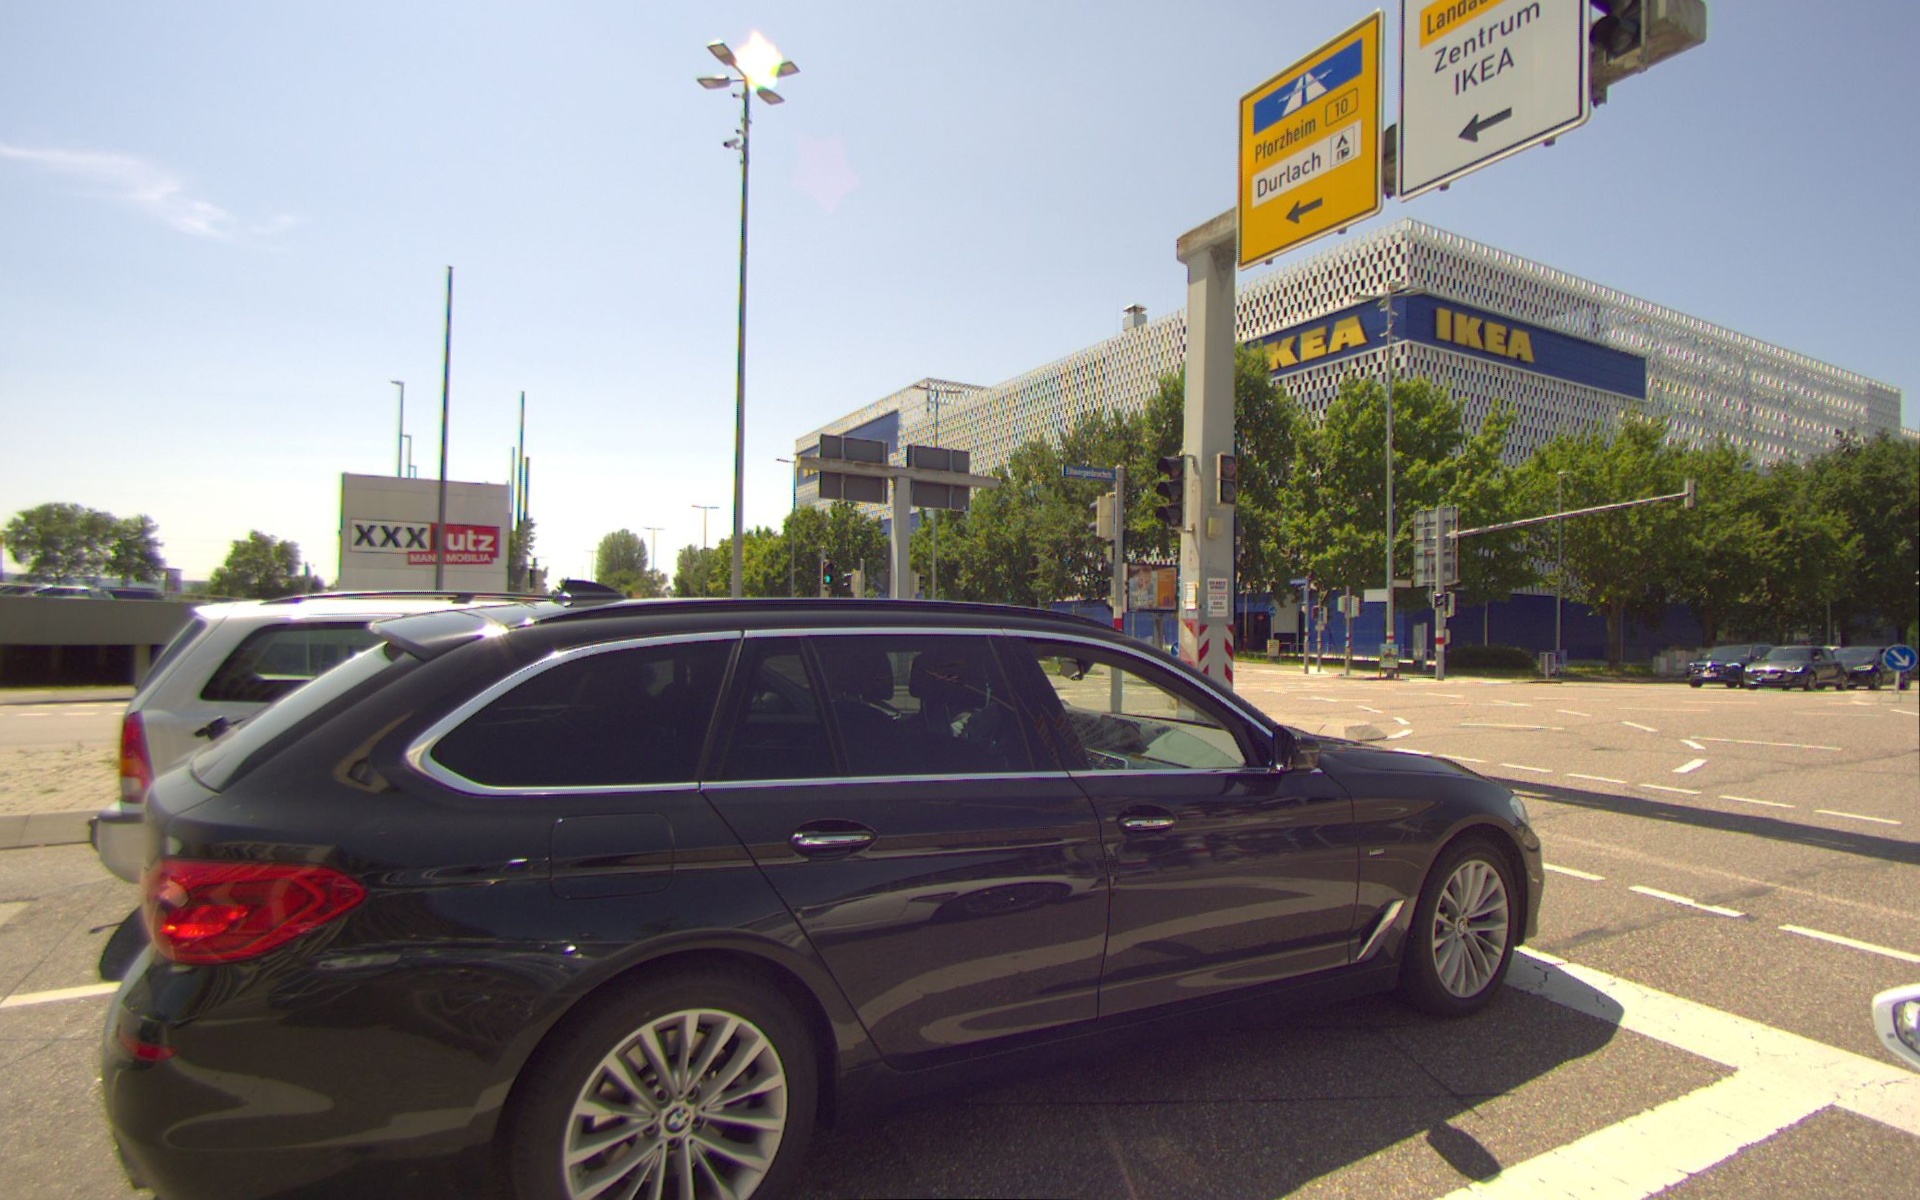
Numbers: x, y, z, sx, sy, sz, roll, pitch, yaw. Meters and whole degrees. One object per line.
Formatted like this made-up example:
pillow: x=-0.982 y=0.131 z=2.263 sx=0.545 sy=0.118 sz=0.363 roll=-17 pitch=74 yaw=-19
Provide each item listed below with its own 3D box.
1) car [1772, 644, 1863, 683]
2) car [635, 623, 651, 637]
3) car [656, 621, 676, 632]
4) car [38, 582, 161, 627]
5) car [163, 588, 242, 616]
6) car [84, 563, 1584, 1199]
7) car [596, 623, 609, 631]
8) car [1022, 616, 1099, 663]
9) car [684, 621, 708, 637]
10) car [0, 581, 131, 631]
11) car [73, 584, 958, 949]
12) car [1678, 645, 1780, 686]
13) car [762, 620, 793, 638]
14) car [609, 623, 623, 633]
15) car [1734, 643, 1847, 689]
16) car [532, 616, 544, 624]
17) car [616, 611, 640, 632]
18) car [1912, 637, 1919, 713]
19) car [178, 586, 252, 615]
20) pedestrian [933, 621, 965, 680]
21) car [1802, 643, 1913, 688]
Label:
car: x=35.649 y=2.647 z=41.737 sx=3.870 sy=1.564 sz=1.718 roll=3 pitch=-3 yaw=-31
car: x=-44.291 y=4.201 z=140.292 sx=1.607 sy=1.835 sz=3.474 roll=1 pitch=-2 yaw=-27
car: x=-42.422 y=3.834 z=144.711 sx=1.976 sy=1.572 sz=3.970 roll=2 pitch=-2 yaw=-29
car: x=-42.102 y=0.271 z=49.273 sx=4.285 sy=2.040 sz=1.981 roll=2 pitch=-2 yaw=-34
car: x=-52.108 y=0.175 z=69.174 sx=4.086 sy=1.764 sz=1.770 roll=2 pitch=-2 yaw=-30
car: x=0.080 y=0.740 z=3.550 sx=4.505 sy=1.459 sz=1.788 roll=2 pitch=-1 yaw=-31
car: x=-60.571 y=4.549 z=170.262 sx=1.608 sy=1.368 sz=3.472 roll=2 pitch=-2 yaw=-29
car: x=4.547 y=1.783 z=45.934 sx=1.750 sy=2.040 sz=3.813 roll=1 pitch=-2 yaw=-26
car: x=-32.484 y=3.619 z=123.745 sx=1.944 sy=1.903 sz=3.860 roll=2 pitch=-2 yaw=-29
car: x=-39.525 y=0.297 z=44.335 sx=4.284 sy=2.040 sz=1.982 roll=2 pitch=-2 yaw=-34
car: x=-2.148 y=0.686 z=5.664 sx=3.959 sy=1.441 sz=1.685 roll=1 pitch=0 yaw=-29
car: x=28.710 y=2.447 z=37.471 sx=3.992 sy=1.442 sz=1.653 roll=3 pitch=-3 yaw=-31
car: x=-19.061 y=3.043 z=104.855 sx=2.031 sy=1.769 sz=3.860 roll=2 pitch=-2 yaw=-29
car: x=-55.458 y=4.551 z=161.936 sx=1.608 sy=1.629 sz=3.471 roll=2 pitch=-2 yaw=-29
car: x=27.184 y=2.165 z=32.853 sx=3.671 sy=1.407 sz=1.637 roll=3 pitch=-4 yaw=-30
car: x=-82.069 y=3.932 z=195.423 sx=1.836 sy=1.528 sz=3.971 roll=2 pitch=-2 yaw=-28
car: x=-37.051 y=2.394 z=111.994 sx=1.973 sy=2.212 sz=5.019 roll=1 pitch=-2 yaw=-25
car: x=19.624 y=1.378 z=17.600 sx=4.149 sy=1.394 sz=1.907 roll=1 pitch=-2 yaw=-2
car: x=-57.635 y=0.053 z=77.794 sx=4.278 sy=2.040 sz=1.985 roll=2 pitch=-2 yaw=-30
pedestrian: x=-0.346 y=1.562 z=31.342 sx=0.816 sy=1.807 sz=0.601 roll=2 pitch=-2 yaw=-27
car: x=32.379 y=2.374 z=36.231 sx=4.193 sy=1.524 sz=1.719 roll=3 pitch=-4 yaw=-30
